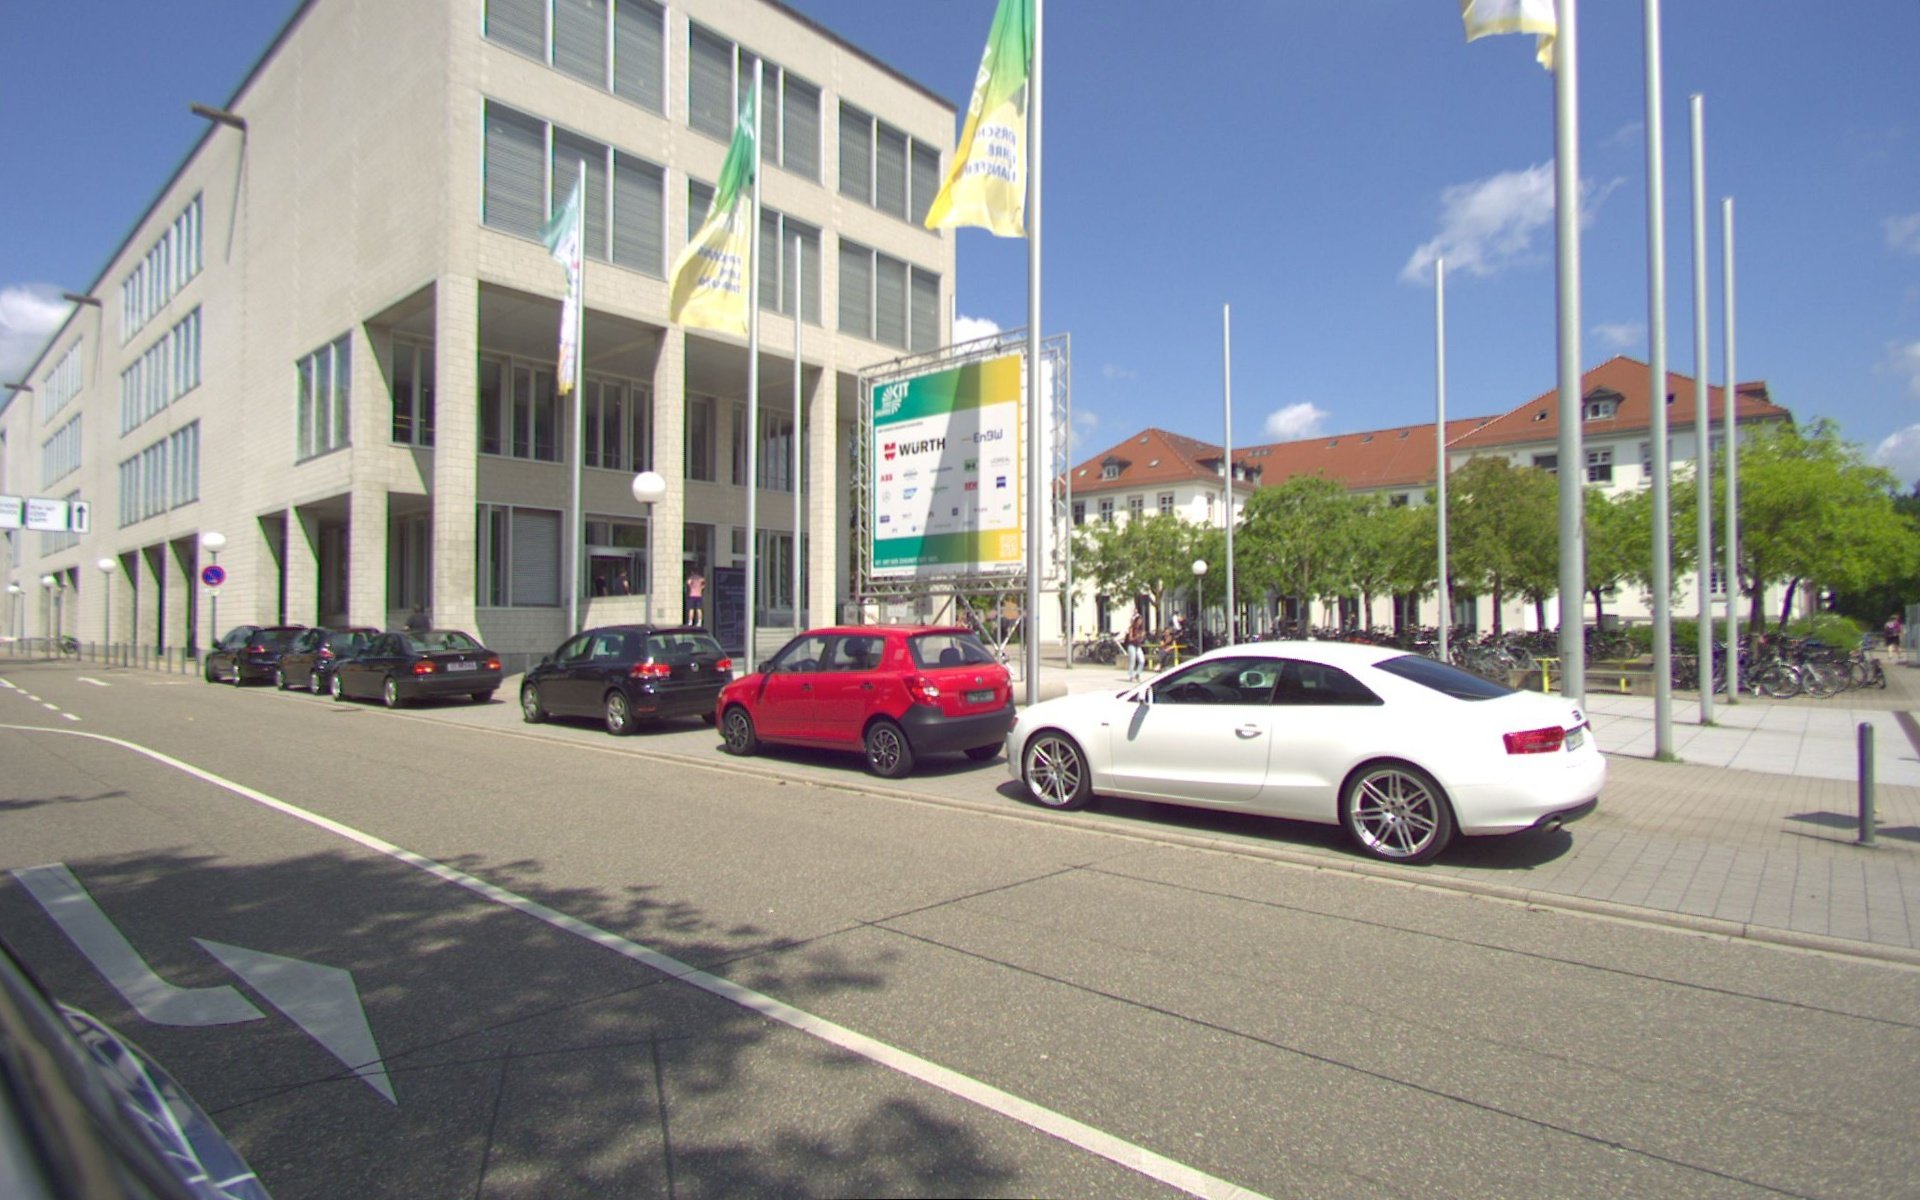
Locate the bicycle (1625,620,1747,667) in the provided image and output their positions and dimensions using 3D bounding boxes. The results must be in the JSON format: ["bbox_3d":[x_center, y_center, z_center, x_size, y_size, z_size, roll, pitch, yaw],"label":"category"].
[{"bbox_3d":[22.986,1.361,32.092,1.049,1.422,2.956,0,-1,-40],"label":"bicycle"}]

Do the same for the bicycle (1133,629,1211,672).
[{"bbox_3d":[7.566,1.771,36.272,1.128,1.422,2.961,0,-1,-27],"label":"bicycle"}]

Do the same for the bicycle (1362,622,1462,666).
[{"bbox_3d":[15.433,1.488,34.627,1.048,1.422,2.957,0,-1,-37],"label":"bicycle"}]

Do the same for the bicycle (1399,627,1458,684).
[{"bbox_3d":[12.756,1.474,27.649,1.139,1.422,2.933,-1,-1,19],"label":"bicycle"}]

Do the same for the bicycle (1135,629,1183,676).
[{"bbox_3d":[6.469,1.662,32.708,1.139,1.422,2.933,-1,-1,19],"label":"bicycle"}]

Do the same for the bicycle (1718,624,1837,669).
[{"bbox_3d":[27.209,1.514,33.718,1.049,1.422,2.954,0,-2,-43],"label":"bicycle"}]

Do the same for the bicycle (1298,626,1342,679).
[{"bbox_3d":[10.551,1.507,29.715,1.139,1.422,2.933,-1,-1,19],"label":"bicycle"}]

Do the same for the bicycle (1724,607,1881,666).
[{"bbox_3d":[21.397,0.913,25.761,1.049,1.422,2.954,0,-2,-43],"label":"bicycle"}]

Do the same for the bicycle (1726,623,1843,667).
[{"bbox_3d":[28.097,1.519,34.534,1.049,1.422,2.954,0,-2,-43],"label":"bicycle"}]

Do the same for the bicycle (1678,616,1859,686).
[{"bbox_3d":[17.546,1.070,22.038,1.002,1.427,2.954,0,-2,-43],"label":"bicycle"}]

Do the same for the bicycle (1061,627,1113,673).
[{"bbox_3d":[4.248,1.616,33.553,1.139,1.422,2.933,-1,-1,19],"label":"bicycle"}]

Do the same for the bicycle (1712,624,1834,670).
[{"bbox_3d":[26.353,1.507,32.850,1.049,1.422,2.954,0,-2,-43],"label":"bicycle"}]

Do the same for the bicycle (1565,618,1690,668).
[{"bbox_3d":[20.058,1.281,30.490,1.049,1.422,2.956,0,-1,-40],"label":"bicycle"}]

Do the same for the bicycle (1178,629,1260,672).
[{"bbox_3d":[9.137,1.748,35.889,1.128,1.422,2.961,0,-1,-27],"label":"bicycle"}]

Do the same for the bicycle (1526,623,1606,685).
[{"bbox_3d":[14.873,1.284,24.927,1.057,1.422,2.933,-1,-1,19],"label":"bicycle"}]

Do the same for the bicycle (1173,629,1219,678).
[{"bbox_3d":[7.572,1.671,32.300,1.139,1.422,2.933,-1,-1,19],"label":"bicycle"}]

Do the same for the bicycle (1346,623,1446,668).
[{"bbox_3d":[14.579,1.484,33.939,1.048,1.422,2.957,0,-1,-37],"label":"bicycle"}]

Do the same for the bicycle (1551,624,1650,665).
[{"bbox_3d":[23.455,1.615,37.108,2.949,1.422,1.051,-2,-1,41],"label":"bicycle"}]

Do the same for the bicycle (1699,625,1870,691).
[{"bbox_3d":[19.081,1.301,23.487,1.002,1.422,2.954,0,-2,-43],"label":"bicycle"}]

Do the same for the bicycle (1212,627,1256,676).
[{"bbox_3d":[8.551,1.560,31.460,1.139,1.422,2.933,-1,-1,19],"label":"bicycle"}]

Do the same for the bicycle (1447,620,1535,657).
[{"bbox_3d":[21.505,1.538,41.032,1.049,1.422,2.956,0,-1,-40],"label":"bicycle"}]

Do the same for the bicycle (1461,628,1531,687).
[{"bbox_3d":[14.034,1.470,26.619,1.139,1.422,2.933,-1,-1,19],"label":"bicycle"}]

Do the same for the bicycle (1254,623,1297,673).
[{"bbox_3d":[9.545,1.419,30.533,1.139,1.422,2.933,-1,-1,19],"label":"bicycle"}]

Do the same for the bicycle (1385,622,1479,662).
[{"bbox_3d":[17.257,1.513,37.121,1.048,1.422,2.957,0,-1,-37],"label":"bicycle"}]

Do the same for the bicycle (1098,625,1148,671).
[{"bbox_3d":[5.361,1.539,33.135,1.139,1.422,2.933,-1,-1,19],"label":"bicycle"}]

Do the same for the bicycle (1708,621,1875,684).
[{"bbox_3d":[19.837,1.216,24.215,1.049,1.422,2.954,0,-2,-43],"label":"bicycle"}]

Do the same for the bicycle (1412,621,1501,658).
[{"bbox_3d":[19.503,1.538,39.843,1.049,1.422,2.956,0,-1,-40],"label":"bicycle"}]

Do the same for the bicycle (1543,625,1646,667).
[{"bbox_3d":[22.582,1.606,36.058,2.949,1.422,1.051,-2,-1,41],"label":"bicycle"}]

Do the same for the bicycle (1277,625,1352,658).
[{"bbox_3d":[15.592,1.808,44.583,1.130,1.422,2.956,0,-1,-40],"label":"bicycle"}]

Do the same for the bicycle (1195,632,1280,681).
[{"bbox_3d":[7.277,1.473,26.606,2.094,1.225,0.642,-2,-2,42],"label":"bicycle"}]

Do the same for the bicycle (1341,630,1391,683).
[{"bbox_3d":[11.698,1.600,29.245,1.139,1.422,2.933,-1,-1,19],"label":"bicycle"}]

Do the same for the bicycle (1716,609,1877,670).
[{"bbox_3d":[20.609,0.945,25.001,1.049,1.422,2.954,0,-2,-43],"label":"bicycle"}]

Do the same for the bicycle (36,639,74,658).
[{"bbox_3d":[-54.881,2.908,61.377,0.607,1.095,1.624,-2,-1,36],"label":"bicycle"}]

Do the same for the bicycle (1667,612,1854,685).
[{"bbox_3d":[16.791,0.989,21.307,1.002,1.430,2.954,0,-2,-43],"label":"bicycle"}]

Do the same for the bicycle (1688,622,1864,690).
[{"bbox_3d":[18.293,1.221,22.773,1.002,1.422,2.954,0,-2,-43],"label":"bicycle"}]

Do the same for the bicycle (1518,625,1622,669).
[{"bbox_3d":[21.162,1.606,35.201,1.047,1.422,2.960,0,-1,-30],"label":"bicycle"}]

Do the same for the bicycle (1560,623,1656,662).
[{"bbox_3d":[24.830,1.623,38.823,2.949,1.422,1.197,-2,-1,41],"label":"bicycle"}]

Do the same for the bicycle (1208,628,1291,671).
[{"bbox_3d":[10.314,1.741,36.212,1.128,1.422,2.961,0,-1,-27],"label":"bicycle"}]

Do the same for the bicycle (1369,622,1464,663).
[{"bbox_3d":[16.395,1.510,36.438,1.048,1.422,2.957,0,-1,-37],"label":"bicycle"}]
